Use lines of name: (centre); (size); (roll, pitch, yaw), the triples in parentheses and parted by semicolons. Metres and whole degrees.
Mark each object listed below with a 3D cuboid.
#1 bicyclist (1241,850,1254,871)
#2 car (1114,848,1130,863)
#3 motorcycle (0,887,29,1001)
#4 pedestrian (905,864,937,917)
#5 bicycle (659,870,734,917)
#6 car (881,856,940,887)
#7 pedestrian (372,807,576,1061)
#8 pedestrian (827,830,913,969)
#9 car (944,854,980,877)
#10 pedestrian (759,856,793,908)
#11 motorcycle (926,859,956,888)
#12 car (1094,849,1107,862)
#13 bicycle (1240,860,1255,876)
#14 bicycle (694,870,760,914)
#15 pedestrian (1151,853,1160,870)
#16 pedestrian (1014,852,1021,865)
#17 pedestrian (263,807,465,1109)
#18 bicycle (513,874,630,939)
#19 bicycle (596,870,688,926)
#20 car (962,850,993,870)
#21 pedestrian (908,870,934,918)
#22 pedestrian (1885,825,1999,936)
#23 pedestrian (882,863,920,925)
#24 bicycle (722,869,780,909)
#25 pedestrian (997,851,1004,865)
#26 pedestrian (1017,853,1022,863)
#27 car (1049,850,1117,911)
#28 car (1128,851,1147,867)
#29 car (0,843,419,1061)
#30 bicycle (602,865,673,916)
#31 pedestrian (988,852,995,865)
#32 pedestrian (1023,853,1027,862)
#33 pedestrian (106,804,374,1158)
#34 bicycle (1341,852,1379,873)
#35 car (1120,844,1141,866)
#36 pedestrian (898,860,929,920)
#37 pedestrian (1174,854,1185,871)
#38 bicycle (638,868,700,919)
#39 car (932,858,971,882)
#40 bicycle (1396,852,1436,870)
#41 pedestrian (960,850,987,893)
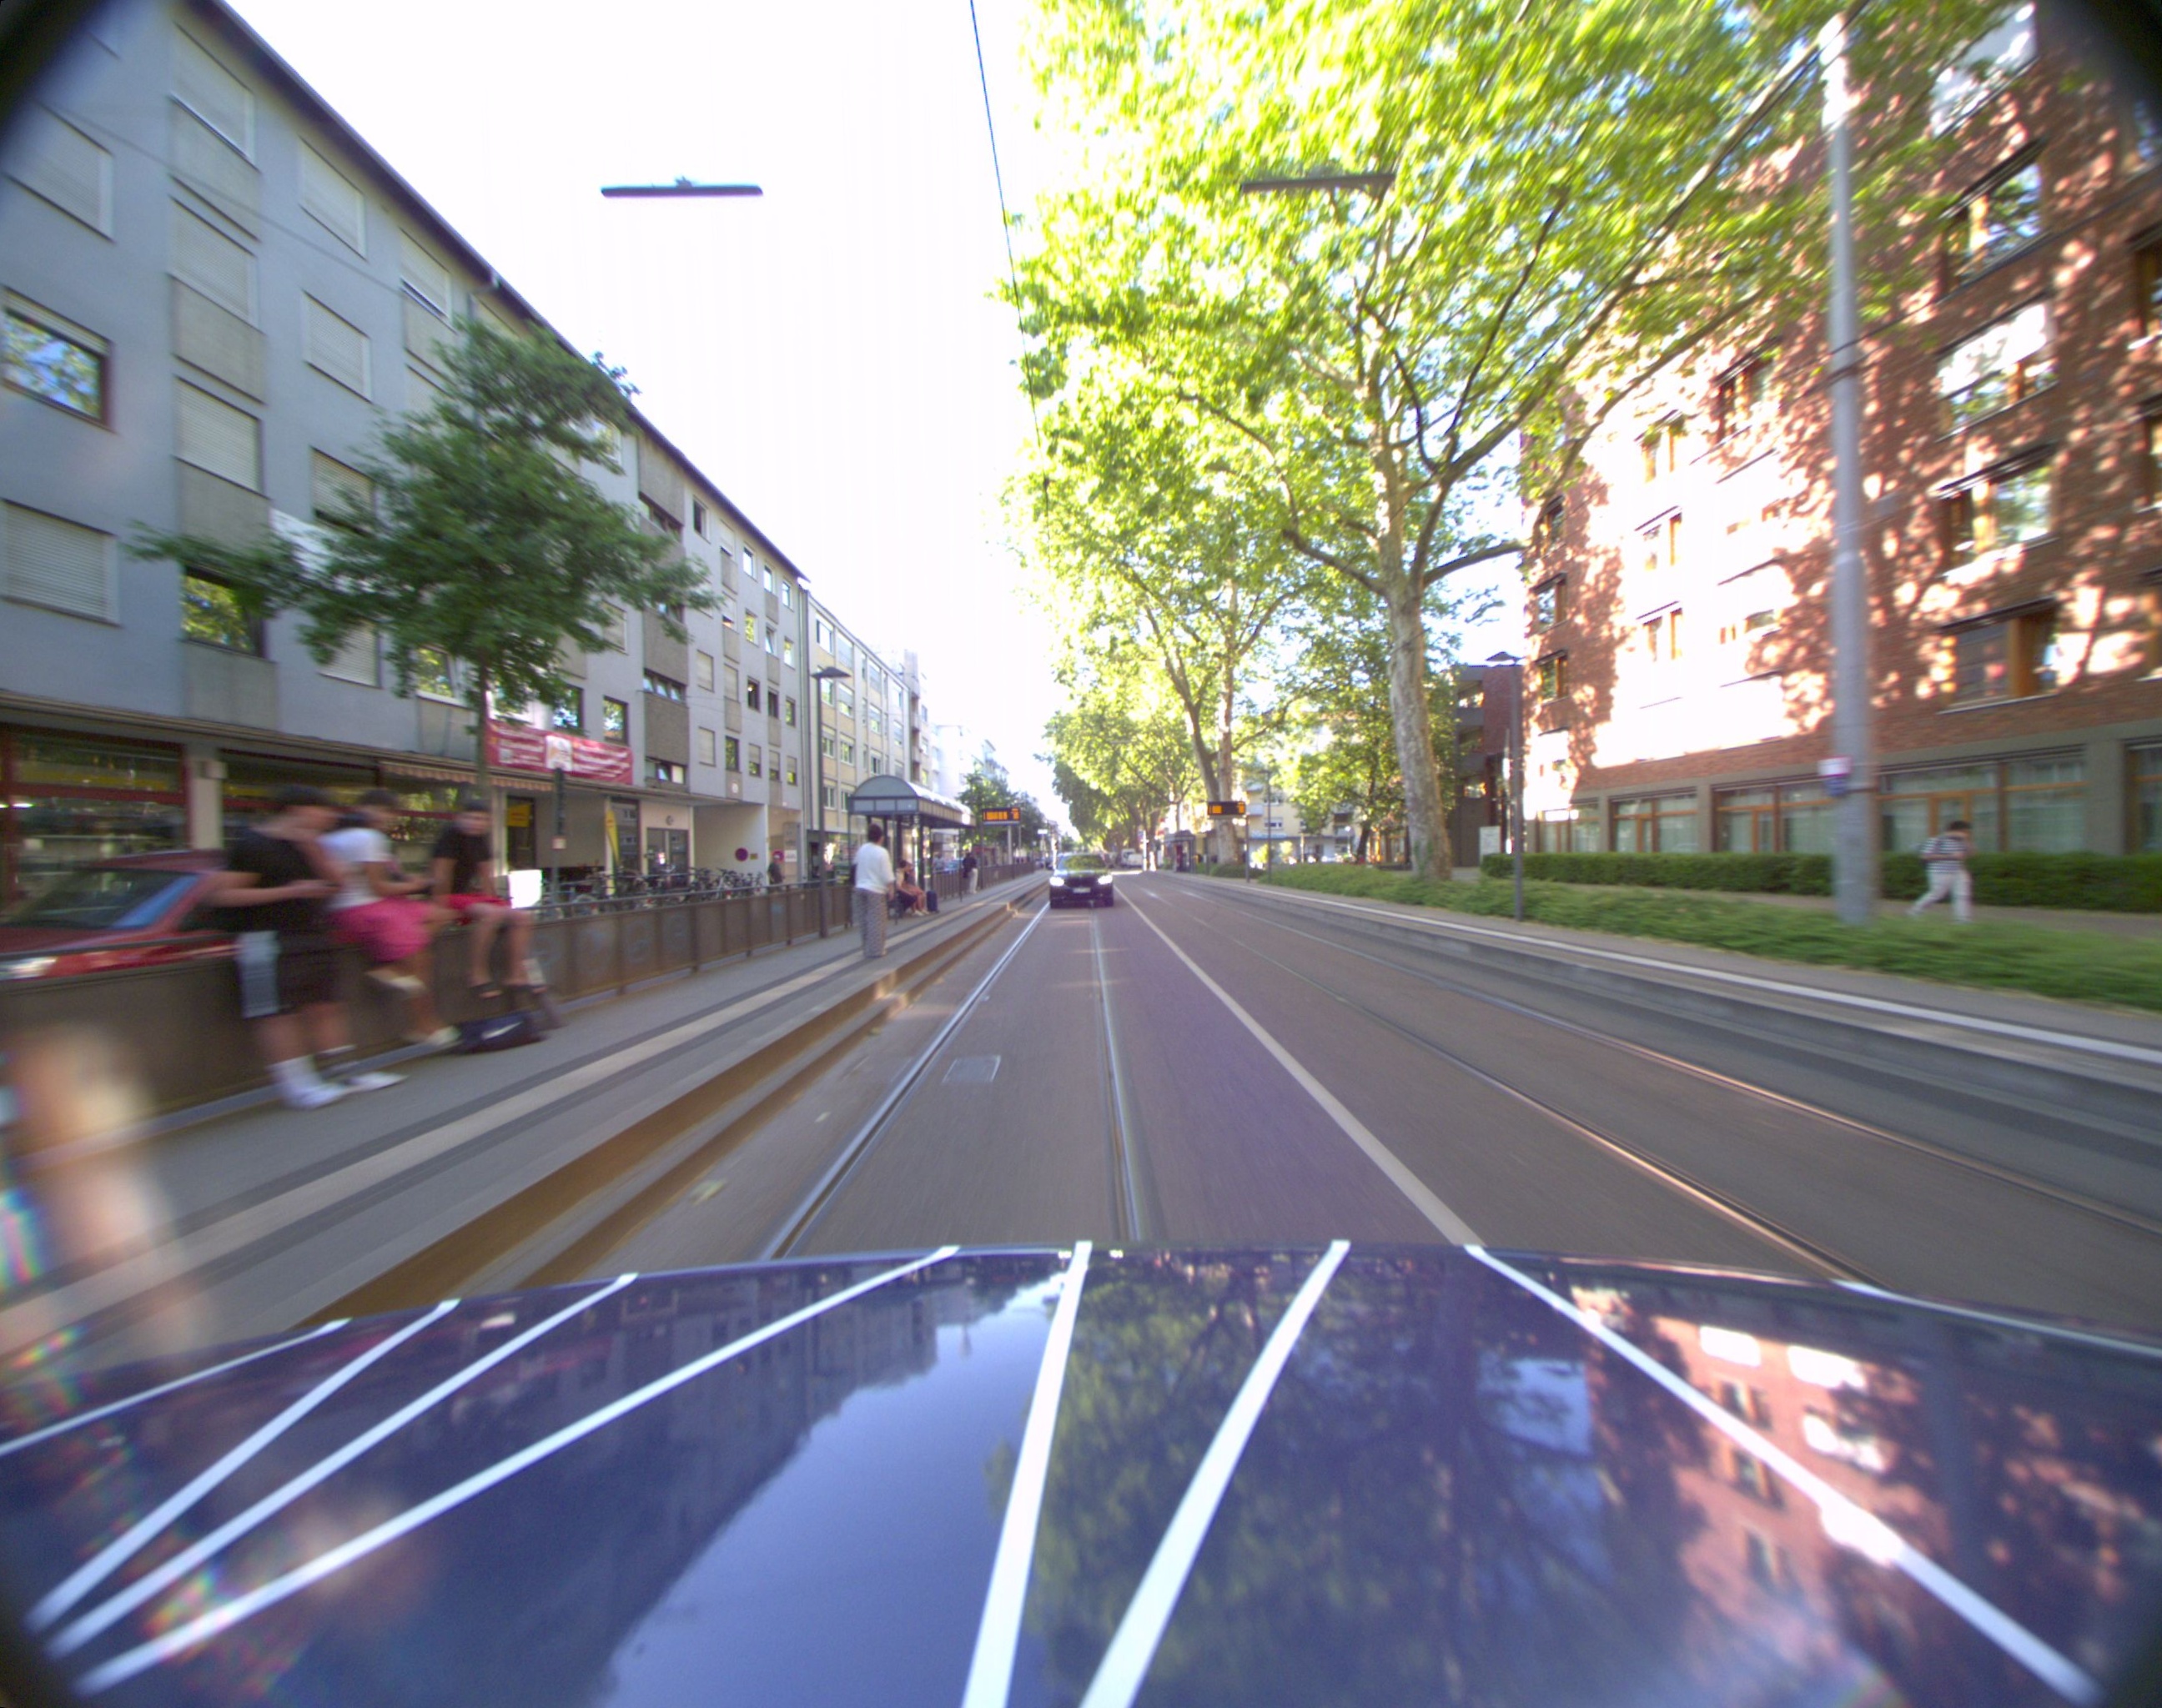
bicyclist: (12.437, 0.453, 56.758); (0.735, 1.506, 0.892); (-2, 1, 3)
car: (6.724, 0.278, 124.741); (2.142, 2.274, 4.965); (-3, 0, 0)
motorcycle: (-12.910, 1.025, 7.651); (0.954, 1.309, 2.650); (1, 0, -1)
pedestrian: (-3.791, 0.843, 18.009); (0.680, 1.198, 0.648); (-2, 1, -10)
bicycle: (-10.668, 1.055, 21.206); (0.773, 1.173, 2.782); (4, -1, -4)
car: (-9.396, 0.910, 42.262); (1.958, 1.474, 4.660); (-3, 0, 3)
pedestrian: (-4.359, 0.539, 5.523); (0.847, 1.691, 0.692); (-2, 1, -6)
pedestrian: (-2.681, 0.564, 9.732); (0.836, 1.703, 0.640); (-2, 1, 2)
car: (-9.083, 0.854, 58.215); (1.998, 1.572, 4.000); (-2, 1, 1)
pedestrian: (-10.815, 1.004, 26.982); (0.771, 1.794, 0.681); (-1, 2, 25)
motorcycle: (-7.416, 1.016, 40.358); (1.054, 1.446, 2.208); (-2, 1, 1)
car: (3.735, 0.223, 146.805); (2.142, 2.274, 4.965); (-3, 0, 0)
bicycle: (12.461, 1.037, 56.783); (0.748, 1.088, 2.039); (-2, 1, 3)
bicycle: (-10.552, 1.105, 22.777); (0.773, 1.173, 2.782); (4, -1, -4)
pedestrian: (7.117, 0.697, 72.435); (0.708, 1.585, 0.561); (-2, 1, 2)
pedestrian: (-8.689, 0.627, 104.003); (0.752, 1.645, 0.970); (-2, 1, -1)
pedestrian: (-4.504, 0.609, 4.811); (0.493, 1.760, 0.704); (-2, 1, 15)
bicycle: (-10.911, 1.083, 16.428); (0.773, 1.173, 2.782); (2, 0, -4)
bicycle: (-10.925, 1.053, 19.043); (0.773, 1.173, 2.782); (4, 0, -4)
car: (-8.853, 0.462, 65.220); (1.998, 1.583, 4.000); (-2, 1, 1)
pedestrian: (-3.680, 0.911, 17.510); (0.522, 1.049, 0.425); (-2, 1, -10)
pedestrian: (14.216, 0.421, 12.576); (0.765, 1.734, 0.972); (-2, 1, 1)
pedestrian: (-3.922, 0.863, 16.621); (0.721, 1.318, 0.493); (-2, 1, -10)
bicycle: (-10.764, 1.118, 24.871); (0.773, 1.173, 2.782); (4, -1, -4)
pedestrian: (-10.019, 0.512, 94.482); (0.752, 1.645, 0.970); (-2, 1, -1)
pedestrian: (-10.692, 0.640, 132.306); (0.685, 1.645, 0.836); (-2, 1, -1)
car: (0.052, 0.760, 25.089); (1.937, 1.718, 5.072); (-3, 0, 0)
car: (7.144, 0.597, 96.580); (2.041, 1.881, 5.072); (-3, 0, 0)
car: (-9.578, 0.806, 7.893); (1.693, 1.745, 4.173); (-2, 1, -1)
bicycle: (-11.430, 0.908, 19.696); (0.774, 1.173, 2.779); (4, -1, -14)
pedestrian: (-11.598, 0.539, 98.826); (0.752, 1.645, 0.970); (-2, 1, -1)
pedestrian: (-9.737, 0.602, 132.369); (0.685, 1.645, 0.836); (-2, 1, -1)
pedestrian: (-4.481, 0.631, 4.101); (0.690, 1.745, 0.580); (-2, 1, -6)
bicycle: (16.919, 0.519, 46.123); (2.098, 1.182, 0.882); (-2, 1, 17)
car: (6.957, 0.129, 106.756); (2.429, 2.833, 5.072); (-3, 1, 0)
pedestrian: (-3.773, 0.800, 17.133); (0.586, 1.297, 0.526); (-3, 1, -10)
pedestrian: (7.106, 0.609, 54.652); (0.708, 1.197, 0.473); (-2, 1, 2)
bicycle: (-10.932, 1.014, 20.254); (0.774, 1.173, 2.779); (4, -1, -15)
car: (-8.942, 1.075, 52.662); (1.899, 1.477, 4.000); (-2, 1, 1)
bicycle: (20.209, 0.429, 45.911); (0.823, 1.088, 2.033); (-3, 1, -37)
pedestrian: (-4.042, 0.664, 28.666); (0.648, 1.567, 0.855); (-2, 1, 18)
